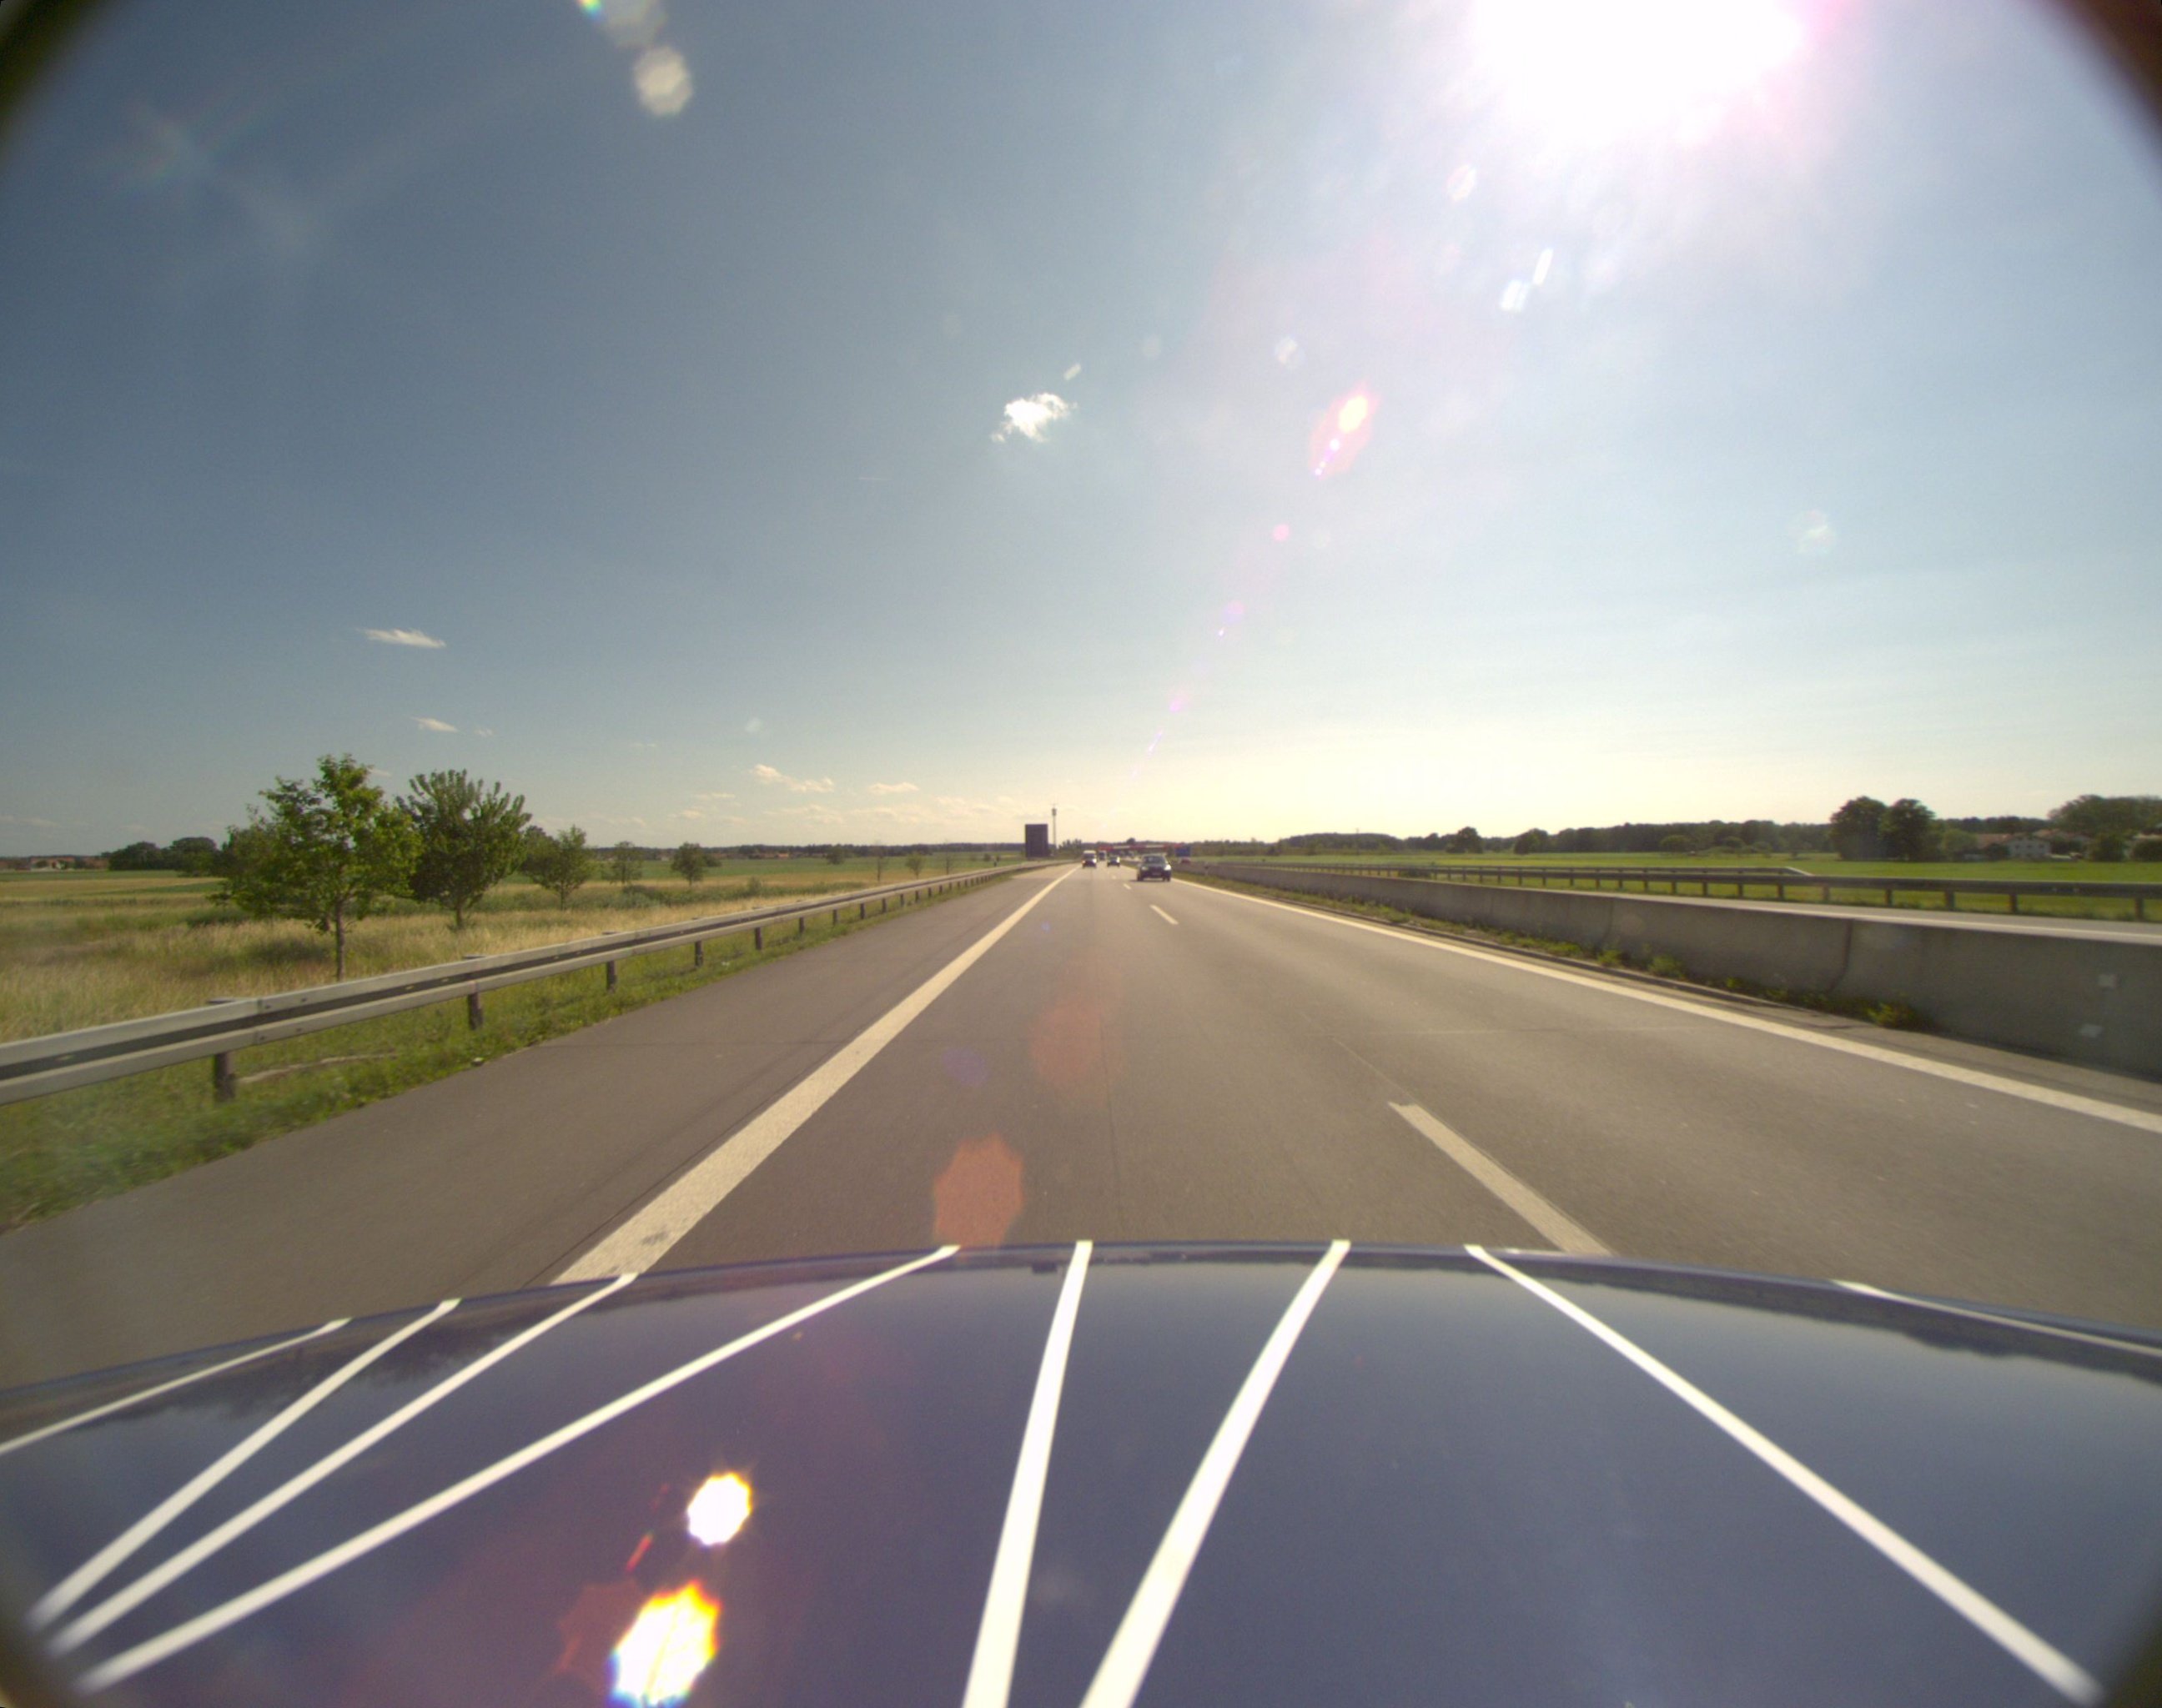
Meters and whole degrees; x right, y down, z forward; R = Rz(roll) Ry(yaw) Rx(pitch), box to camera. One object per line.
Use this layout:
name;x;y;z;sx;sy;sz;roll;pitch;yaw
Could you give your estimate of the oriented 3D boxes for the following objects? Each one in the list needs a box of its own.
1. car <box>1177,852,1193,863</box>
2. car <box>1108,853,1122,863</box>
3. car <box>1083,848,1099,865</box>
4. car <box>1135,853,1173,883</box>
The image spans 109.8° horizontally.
car;16.310;0.528;119.356;1.902;1.514;4.806;2;0;1
car;5.429;0.615;122.163;2.030;1.600;4.818;-1;0;1
car;1.408;0.360;101.427;2.030;2.225;4.818;0;1;2
car;4.387;0.801;46.314;2.030;1.600;4.818;-2;1;2
